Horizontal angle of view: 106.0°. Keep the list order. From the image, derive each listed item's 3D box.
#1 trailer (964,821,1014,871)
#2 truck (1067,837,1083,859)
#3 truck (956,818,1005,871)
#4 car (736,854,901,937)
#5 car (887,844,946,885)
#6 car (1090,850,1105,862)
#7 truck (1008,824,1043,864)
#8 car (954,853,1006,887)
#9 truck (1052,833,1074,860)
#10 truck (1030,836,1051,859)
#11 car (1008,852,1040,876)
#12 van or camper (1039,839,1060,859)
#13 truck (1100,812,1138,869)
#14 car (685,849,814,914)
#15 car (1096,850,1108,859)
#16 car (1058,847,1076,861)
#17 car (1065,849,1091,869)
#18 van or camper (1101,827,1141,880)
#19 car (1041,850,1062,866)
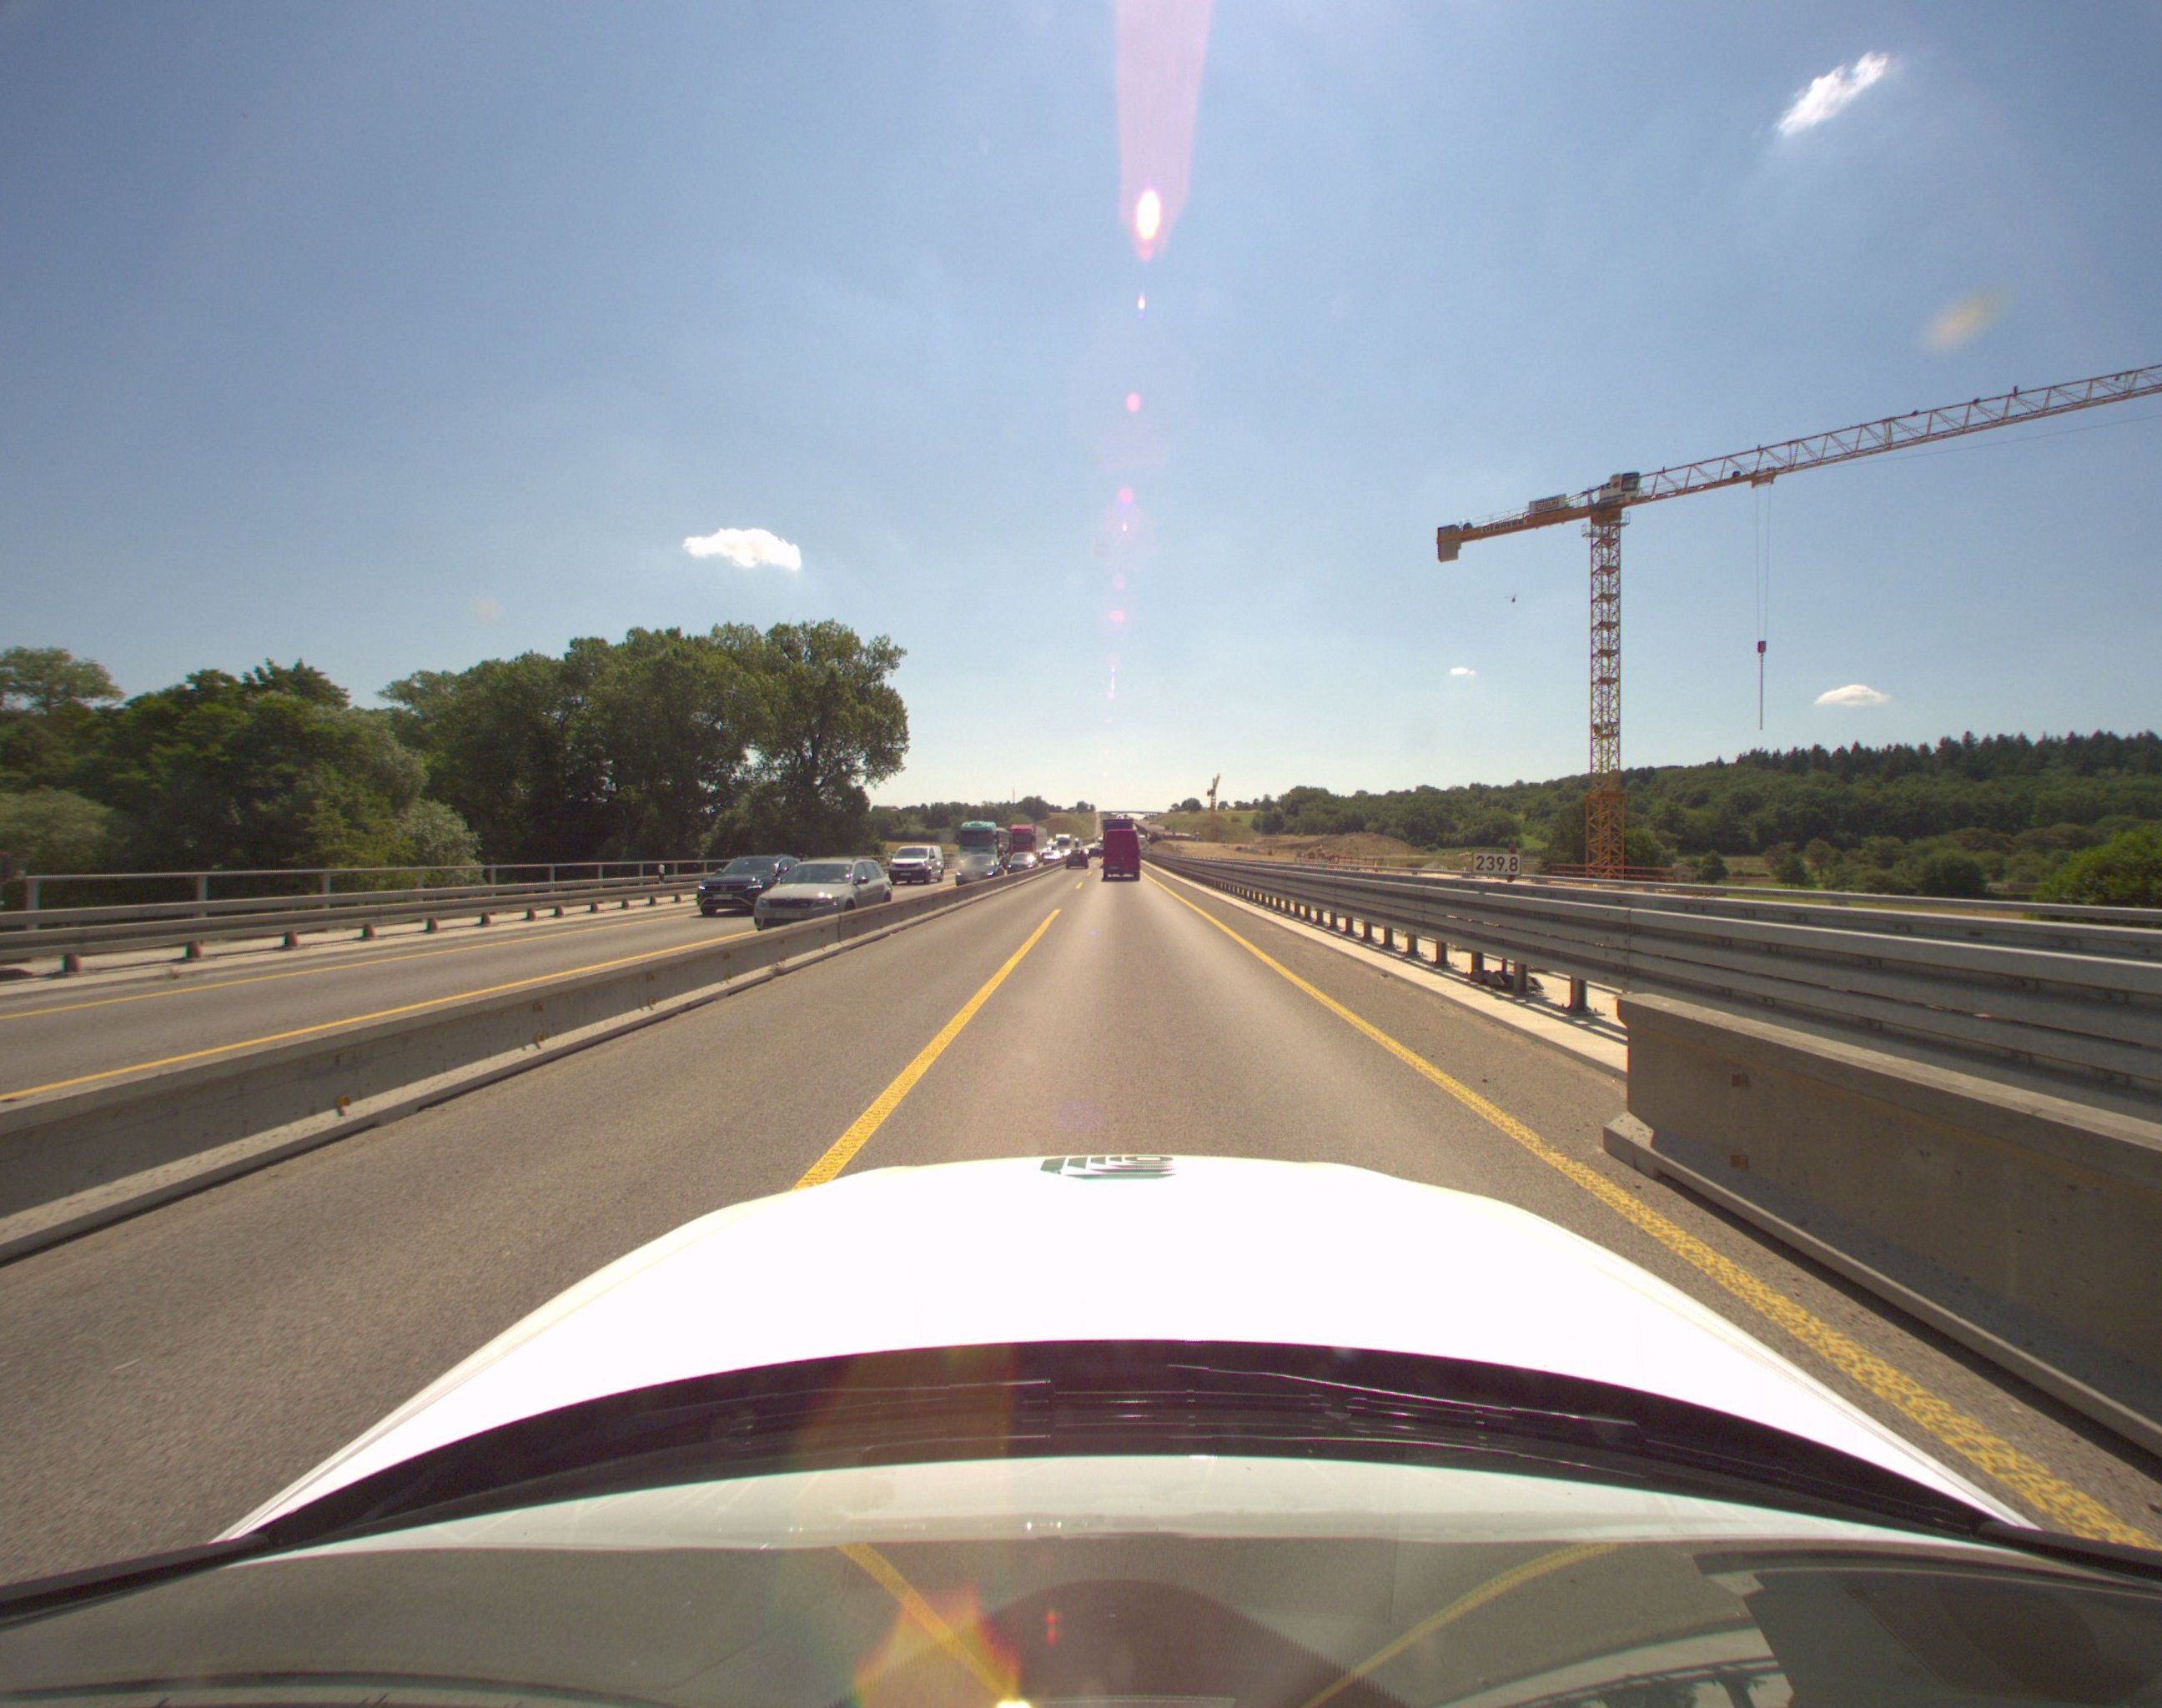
[{"bbox_3d":[-7.264,-0.653,65.588,2.784,3.672,8.960,0,1,1],"label":"trailer"},{"bbox_3d":[-1.221,-1.283,169.645,2.794,4.392,6.230,-1,0,3],"label":"truck"},{"bbox_3d":[-7.392,-0.647,60.437,2.786,3.722,5.376,-1,0,2],"label":"truck"},{"bbox_3d":[-5.293,0.761,17.156,1.819,1.418,4.658,-2,0,1],"label":"car"},{"bbox_3d":[-8.087,0.481,40.445,1.852,1.867,4.631,-1,0,2],"label":"car"},{"bbox_3d":[2.273,0.252,111.665,2.004,1.545,4.134,1,1,2],"label":"car"},{"bbox_3d":[-5.689,-1.032,84.489,2.803,4.037,6.530,0,1,4],"label":"truck"},{"bbox_3d":[-4.543,0.680,37.201,1.672,1.392,4.158,-2,0,2],"label":"car"},{"bbox_3d":[-3.079,-1.236,140.496,3.064,4.536,7.110,-1,0,4],"label":"truck"},{"bbox_3d":[-7.005,-1.157,142.542,2.892,3.764,8.374,0,1,3],"label":"truck"},{"bbox_3d":[-3.718,0.609,53.420,1.624,1.408,4.105,-2,0,2],"label":"car"},{"bbox_3d":[-4.467,-0.734,116.197,2.493,2.698,5.249,-1,0,3],"label":"van or camper"},{"bbox_3d":[3.240,-1.145,71.720,3.010,4.692,6.933,-2,0,1],"label":"truck"},{"bbox_3d":[-8.874,0.670,22.189,1.807,1.569,4.000,-1,0,1],"label":"car"},{"bbox_3d":[3.729,0.047,143.497,2.004,1.545,4.134,1,1,2],"label":"car"},{"bbox_3d":[-1.725,-0.020,100.226,1.883,1.487,4.922,-4,0,2],"label":"car"},{"bbox_3d":[-0.205,0.407,67.053,2.005,1.545,4.133,0,0,1],"label":"car"},{"bbox_3d":[2.119,-0.052,44.084,2.022,2.744,4.516,0,0,1],"label":"van or camper"},{"bbox_3d":[-2.857,0.378,80.778,1.775,1.379,4.712,-2,0,1],"label":"car"}]
